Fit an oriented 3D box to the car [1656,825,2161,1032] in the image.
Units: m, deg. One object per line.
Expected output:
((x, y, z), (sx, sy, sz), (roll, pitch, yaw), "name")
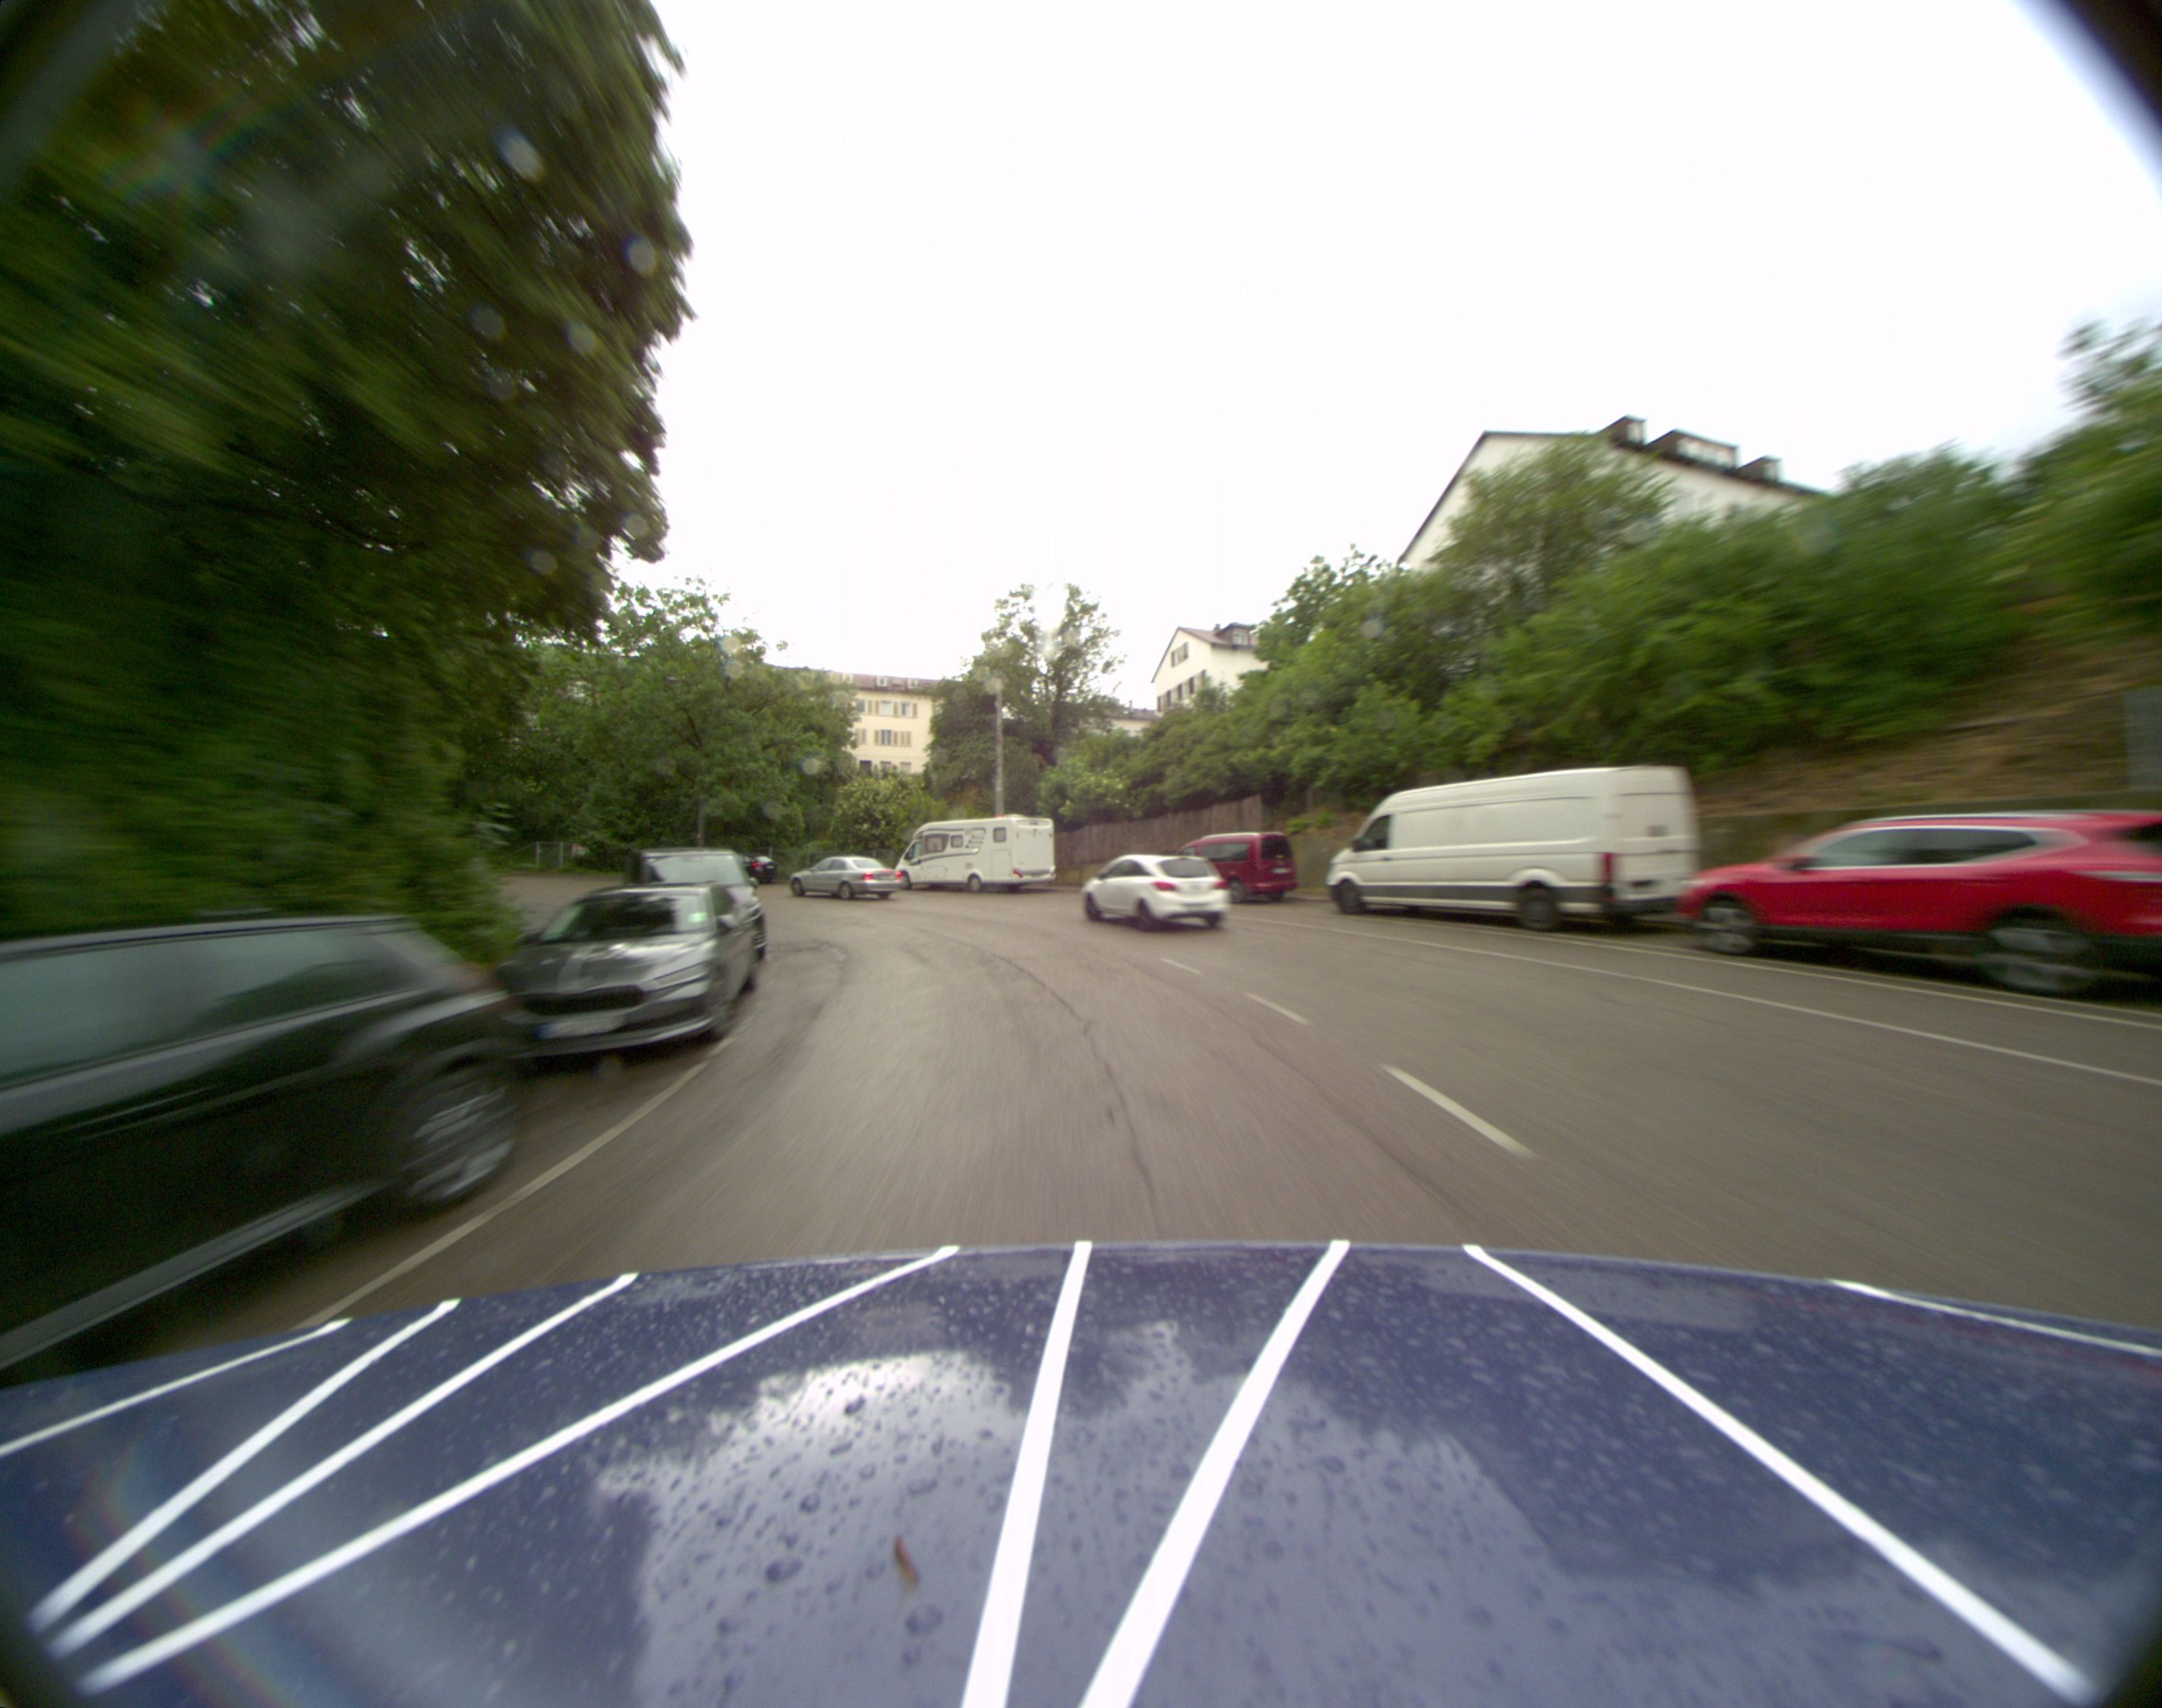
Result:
((8.793, 0.546, 7.952), (1.781, 1.576, 4.429), (-2, 0, -9), "car")

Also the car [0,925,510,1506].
((-3.909, 1.145, 2.137), (1.630, 1.479, 3.745), (-3, 0, 2), "car")

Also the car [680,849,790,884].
((-16.322, 0.548, 35.909), (4.363, 1.455, 2.002), (2, 1, 13), "car")

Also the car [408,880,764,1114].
((-4.730, 1.147, 8.204), (1.908, 1.479, 4.867), (-2, 1, -17), "car")

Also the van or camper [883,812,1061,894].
((-4.516, -0.065, 30.398), (7.504, 2.950, 2.464), (0, 1, 37), "van or camper")

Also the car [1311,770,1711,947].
((7.378, 0.055, 14.329), (2.043, 2.516, 6.811), (-2, 0, -20), "car")

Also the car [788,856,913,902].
((-7.942, 0.793, 25.995), (4.326, 1.377, 1.794), (1, 1, 35), "car")

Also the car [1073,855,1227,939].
((1.304, 0.797, 16.057), (1.609, 1.487, 4.025), (-2, 1, -21), "car")

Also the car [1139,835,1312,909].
((4.018, 0.458, 21.922), (2.003, 1.865, 4.809), (-2, 1, -36), "car")

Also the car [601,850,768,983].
((-7.318, 0.901, 13.716), (2.003, 1.876, 5.023), (-3, 2, -34), "car")

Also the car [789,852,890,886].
((-10.903, 0.670, 34.302), (4.121, 1.403, 1.919), (1, -1, 27), "car")
